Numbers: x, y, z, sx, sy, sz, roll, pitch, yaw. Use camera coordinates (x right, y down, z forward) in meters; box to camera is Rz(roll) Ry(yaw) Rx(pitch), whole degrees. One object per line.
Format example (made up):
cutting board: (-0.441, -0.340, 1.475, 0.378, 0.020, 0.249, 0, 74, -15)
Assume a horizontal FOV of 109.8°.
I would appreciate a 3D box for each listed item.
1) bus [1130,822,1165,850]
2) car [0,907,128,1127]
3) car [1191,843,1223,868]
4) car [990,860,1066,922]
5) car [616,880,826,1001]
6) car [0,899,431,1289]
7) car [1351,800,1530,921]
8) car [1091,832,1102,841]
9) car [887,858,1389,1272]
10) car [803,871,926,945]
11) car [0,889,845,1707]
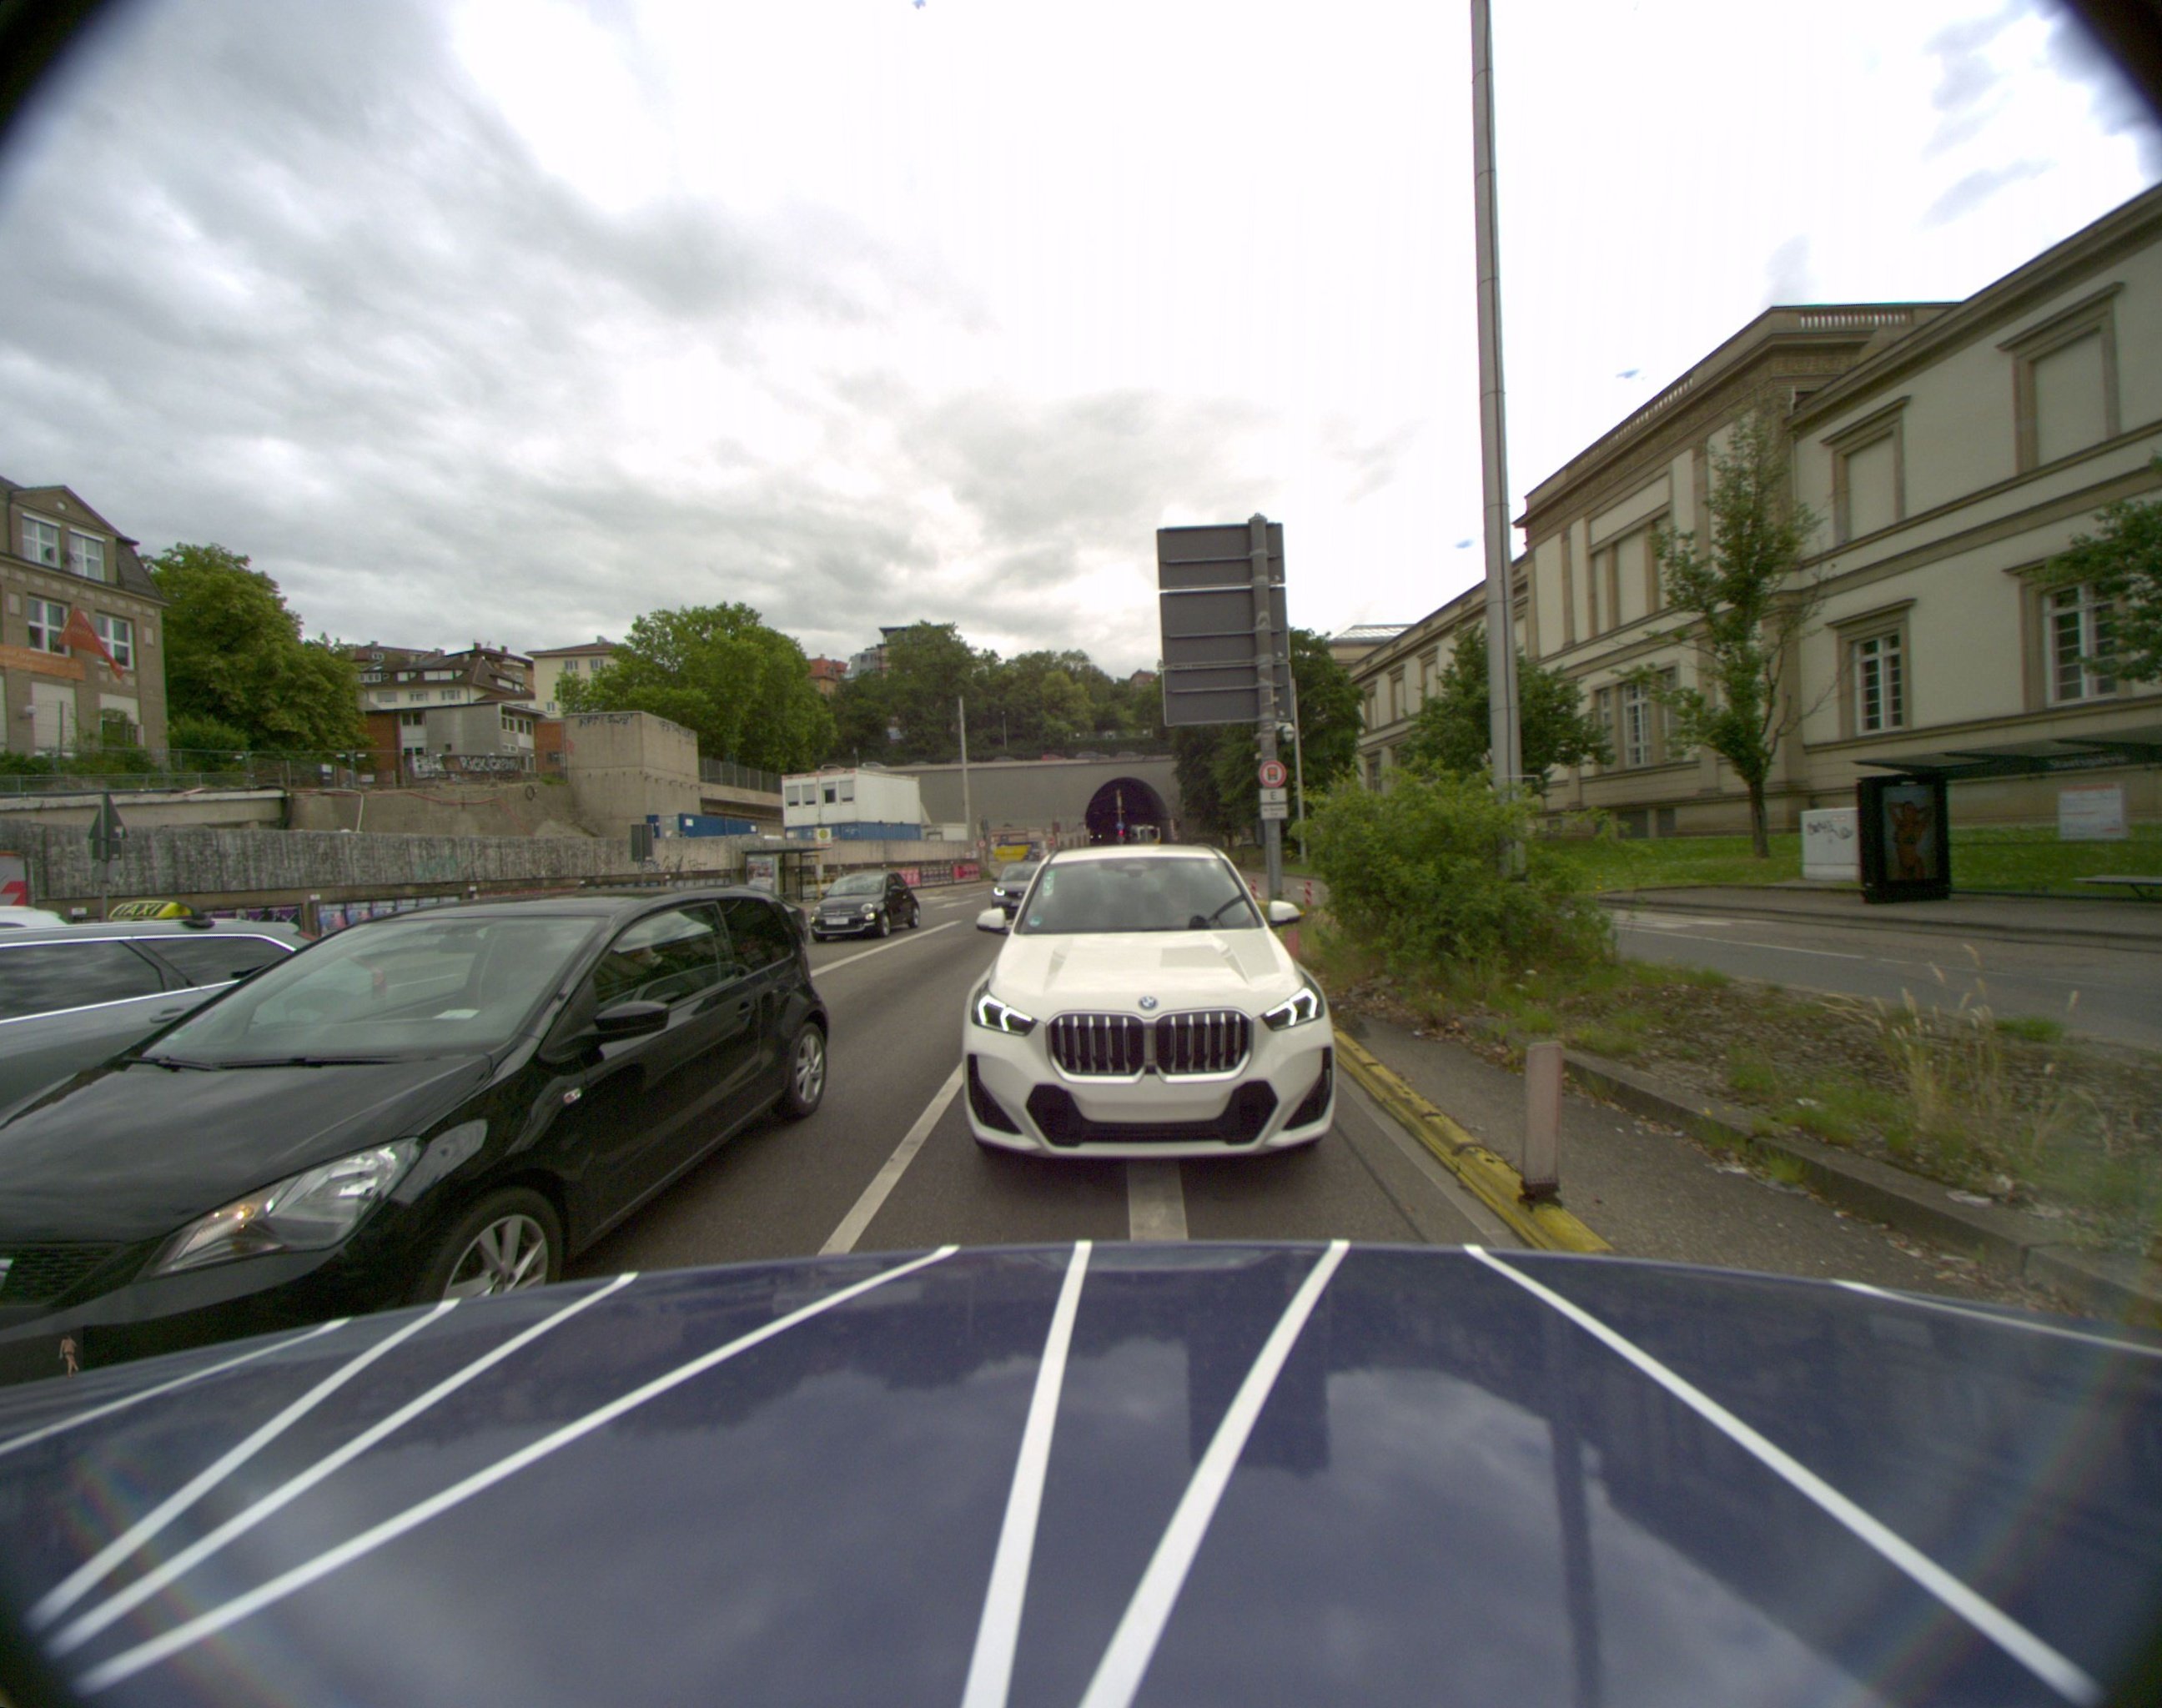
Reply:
bus: (7.912, -2.134, 91.961, 3.171, 3.129, 9.118, -2, 1, -1)
car: (-9.113, 1.321, 4.438, 1.680, 1.615, 4.209, -2, 1, 1)
car: (9.360, 0.089, 56.793, 1.946, 1.714, 4.000, -2, 1, 4)
car: (-1.412, 0.983, 21.506, 1.720, 1.535, 3.575, -2, 0, 2)
car: (-5.377, 1.226, 11.818, 1.665, 1.423, 3.155, -2, 1, 1)
car: (-5.863, 1.210, 3.297, 1.829, 1.615, 4.808, -2, 1, 1)
car: (8.514, 0.132, 18.592, 2.203, 2.493, 4.758, -2, 0, 2)
car: (2.687, -3.031, 131.221, 1.680, 1.450, 3.807, -2, 1, 3)
car: (0.256, 0.877, 4.935, 1.987, 1.615, 3.670, -2, 0, 1)
car: (-4.925, 1.168, 17.806, 1.680, 1.358, 3.806, -2, 1, 1)
car: (-2.578, 1.020, 3.336, 1.829, 1.450, 3.700, -2, 1, 1)
